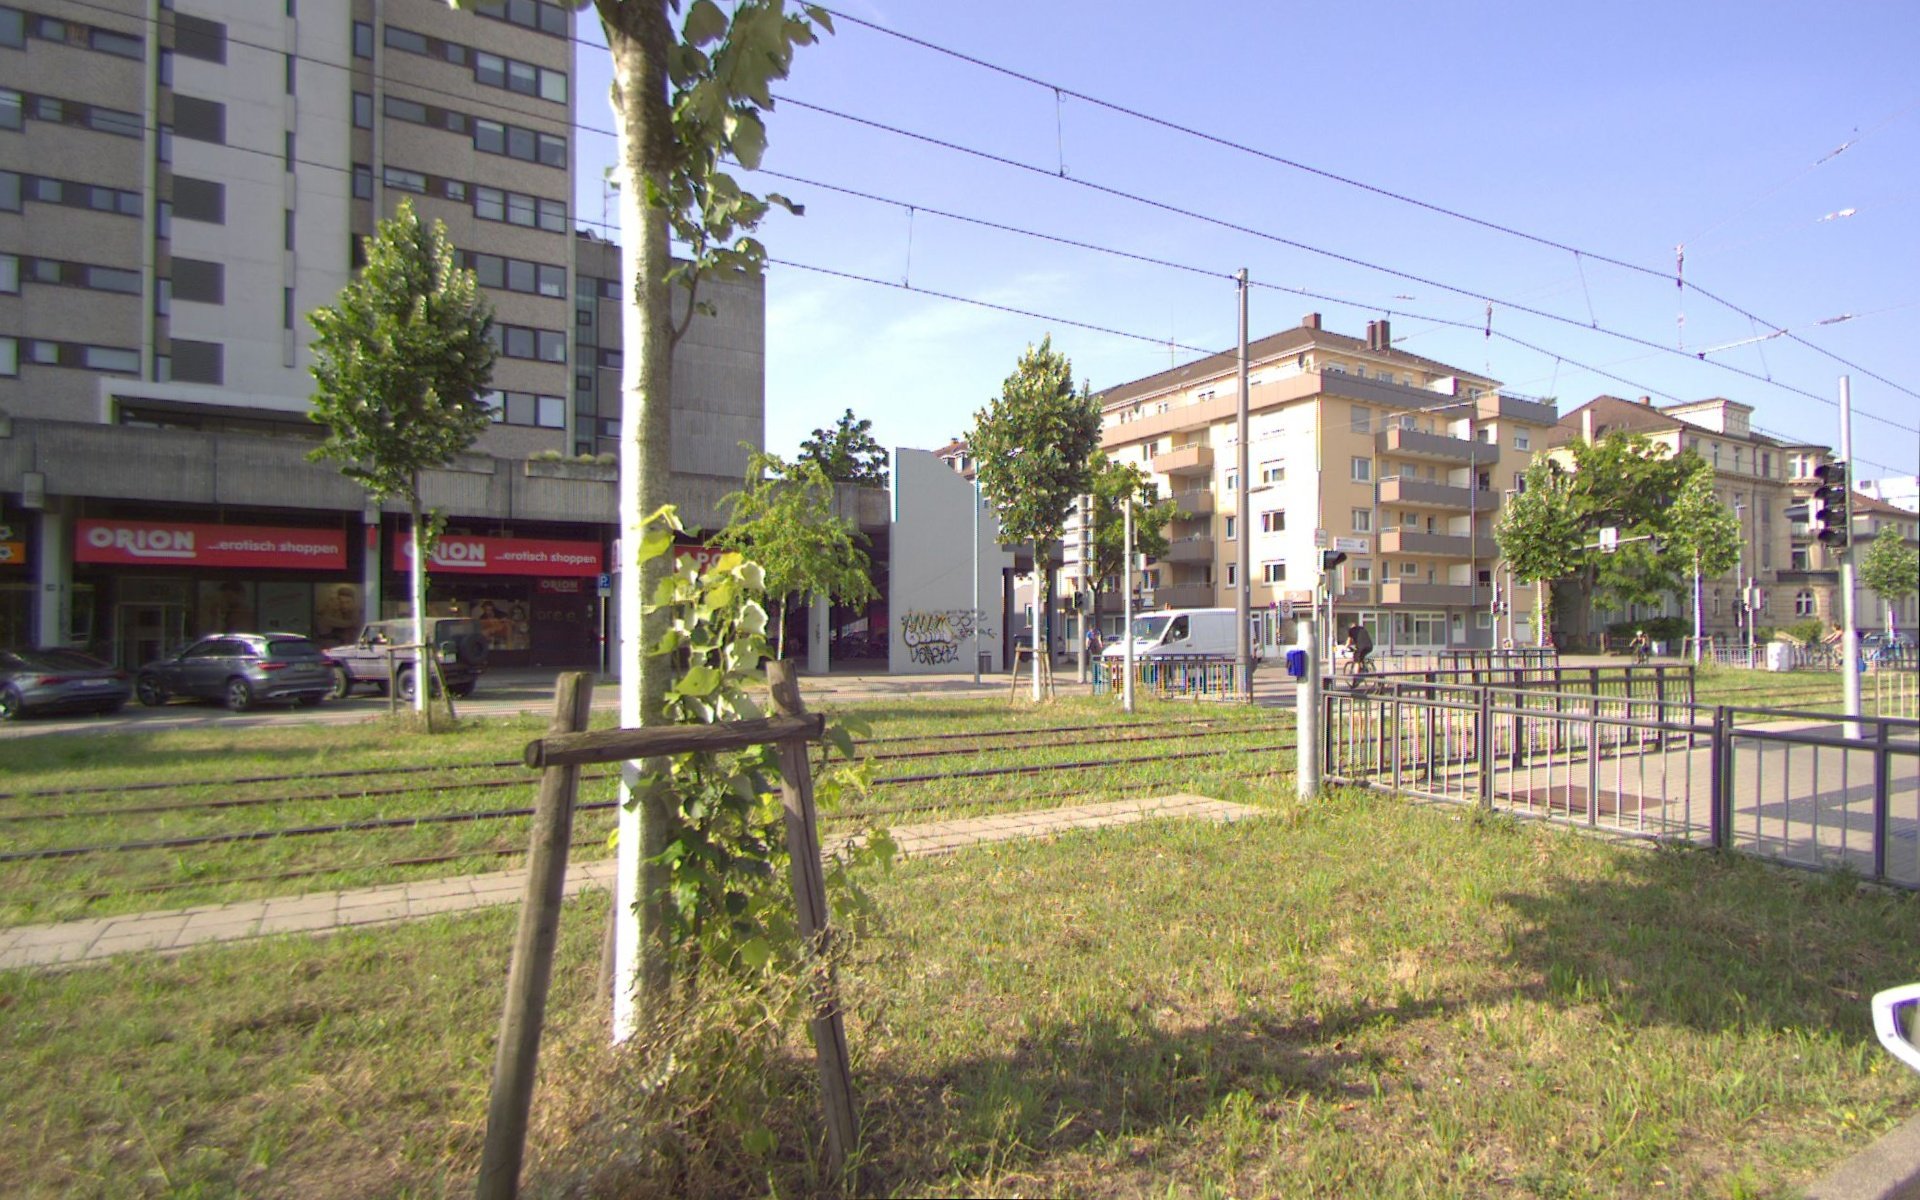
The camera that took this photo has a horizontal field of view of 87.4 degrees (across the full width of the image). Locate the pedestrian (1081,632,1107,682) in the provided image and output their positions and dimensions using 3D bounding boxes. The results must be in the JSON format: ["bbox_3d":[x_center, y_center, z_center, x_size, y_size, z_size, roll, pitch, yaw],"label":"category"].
[{"bbox_3d":[4.634,1.965,34.824,0.637,1.712,0.656,1,-2,-27],"label":"pedestrian"}]

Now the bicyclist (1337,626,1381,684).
[{"bbox_3d":[10.078,1.401,25.387,0.536,1.413,0.972,-2,-4,-9],"label":"bicyclist"}]

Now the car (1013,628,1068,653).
[{"bbox_3d":[5.547,2.785,69.422,1.797,1.625,3.915,1,-2,-34],"label":"car"}]

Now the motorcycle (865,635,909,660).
[{"bbox_3d":[-3.770,2.421,51.859,2.116,1.269,0.820,1,-2,-30],"label":"motorcycle"}]

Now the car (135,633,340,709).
[{"bbox_3d":[-16.540,1.565,23.029,4.031,1.627,1.879,-1,-2,21],"label":"car"}]

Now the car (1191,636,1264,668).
[{"bbox_3d":[14.477,2.779,54.448,1.691,1.604,3.602,-2,0,-33],"label":"car"}]

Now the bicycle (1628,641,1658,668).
[{"bbox_3d":[34.632,2.744,50.909,1.740,1.364,0.690,1,-2,-36],"label":"bicycle"}]

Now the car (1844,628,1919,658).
[{"bbox_3d":[48.096,2.208,52.311,4.350,1.533,1.982,1,-2,-33],"label":"car"}]

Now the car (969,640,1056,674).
[{"bbox_3d":[2.826,3.002,53.754,4.335,1.650,1.897,2,0,-34],"label":"car"}]

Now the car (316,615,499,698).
[{"bbox_3d":[-14.010,1.393,25.498,4.031,1.994,1.879,-1,-2,21],"label":"car"}]

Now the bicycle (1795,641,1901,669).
[{"bbox_3d":[33.607,2.076,38.071,0.894,0.978,2.958,2,-2,-44],"label":"bicycle"}]

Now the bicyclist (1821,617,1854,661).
[{"bbox_3d":[33.410,1.462,38.257,0.881,1.650,0.887,-1,-2,44],"label":"bicyclist"}]

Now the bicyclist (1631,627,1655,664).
[{"bbox_3d":[34.655,2.290,50.930,1.073,1.829,0.664,1,-2,-35],"label":"bicyclist"}]

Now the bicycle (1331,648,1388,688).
[{"bbox_3d":[10.079,1.727,25.418,0.547,0.947,1.611,-2,-4,-9],"label":"bicycle"}]

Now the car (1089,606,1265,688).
[{"bbox_3d":[6.584,1.378,30.274,5.274,2.268,2.035,1,-2,-32],"label":"car"}]

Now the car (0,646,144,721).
[{"bbox_3d":[-19.564,1.696,21.185,4.031,1.261,1.879,1,0,21],"label":"car"}]
